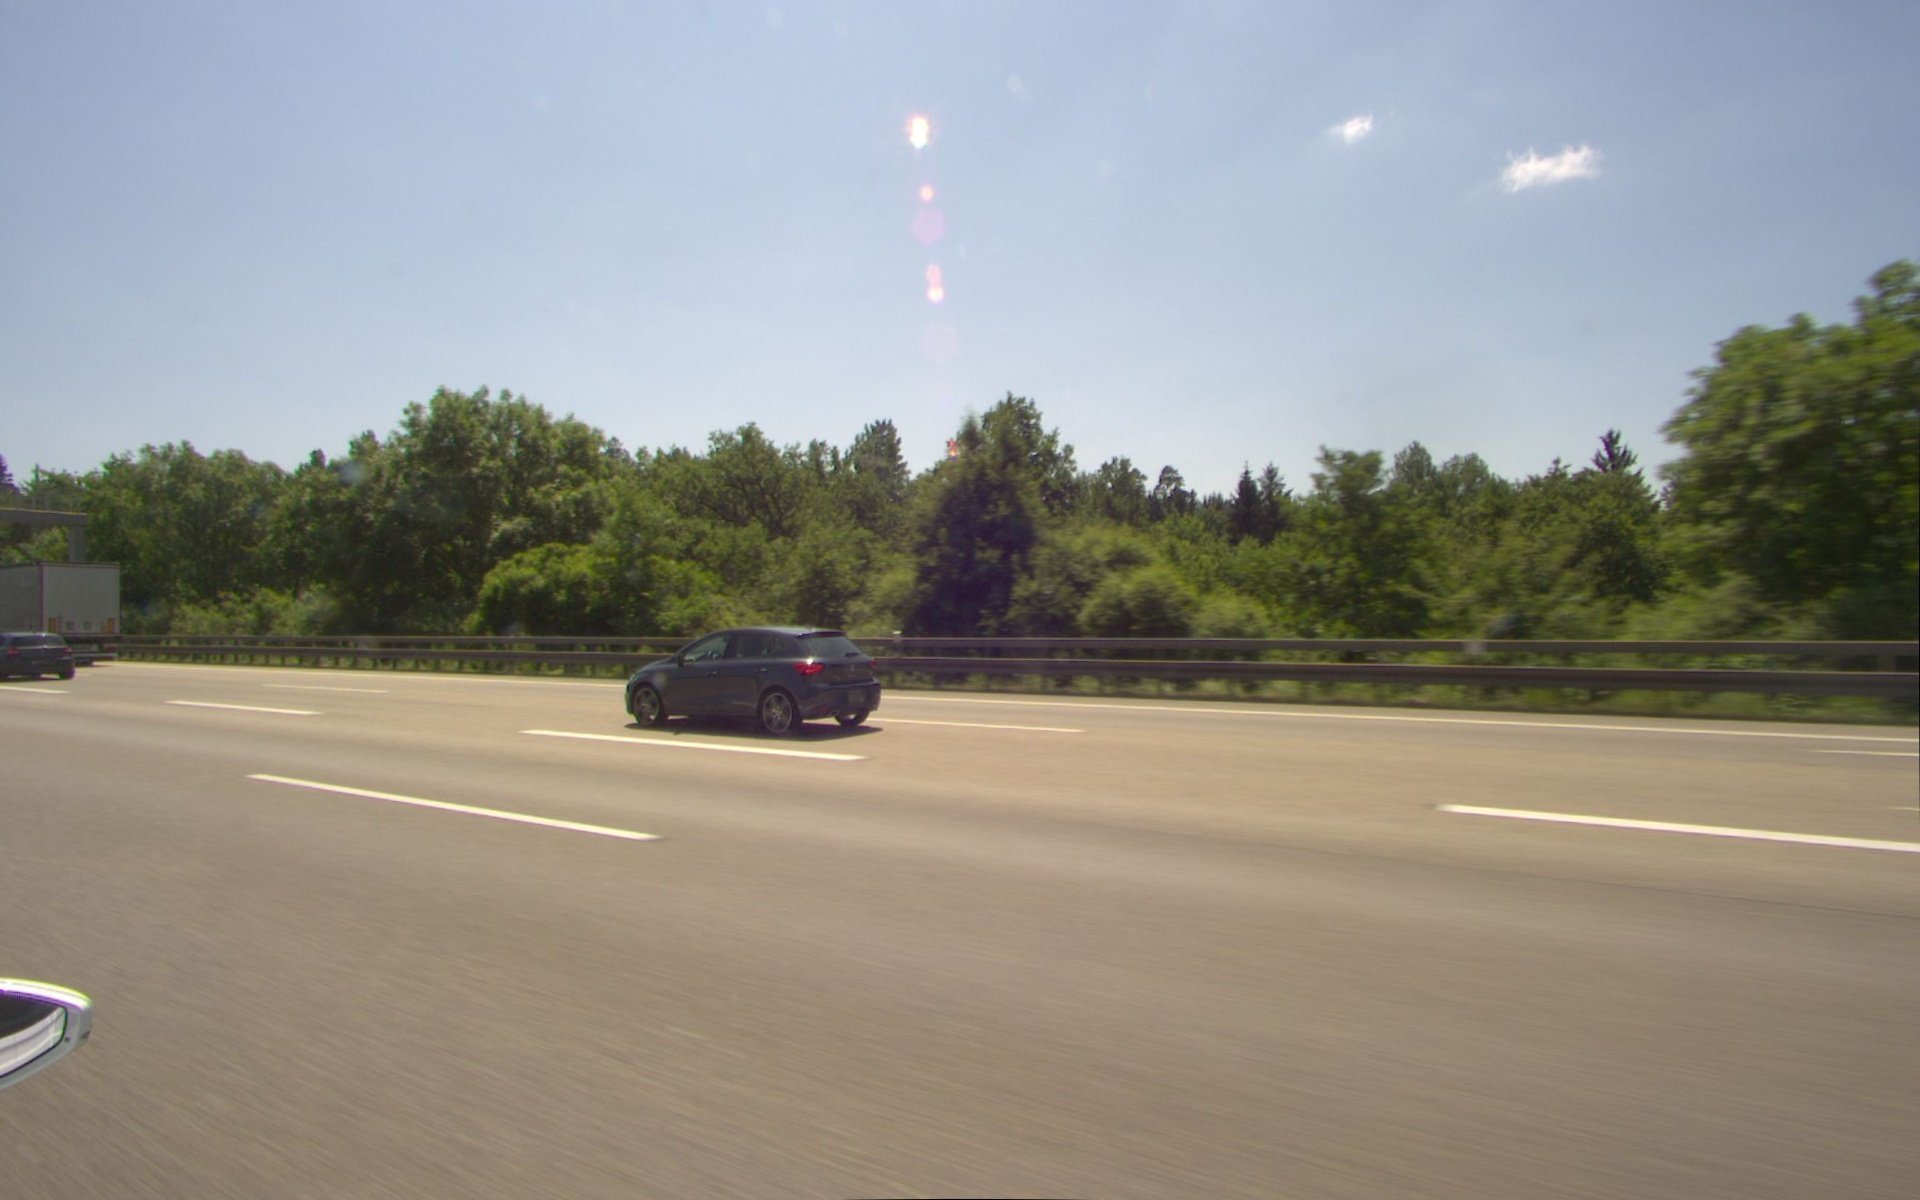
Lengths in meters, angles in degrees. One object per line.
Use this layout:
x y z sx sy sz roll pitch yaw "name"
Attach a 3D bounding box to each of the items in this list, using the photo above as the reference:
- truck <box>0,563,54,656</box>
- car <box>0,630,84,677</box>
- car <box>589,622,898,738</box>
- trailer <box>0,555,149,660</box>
-45.280 0.457 46.537 5.902 4.160 3.248 0 -1 32 "truck"
-28.046 1.551 29.944 4.229 1.290 1.667 -1 -1 33 "car"
-3.229 1.062 14.555 4.568 1.457 1.640 -1 -1 32 "car"
-39.723 0.433 43.042 13.691 3.981 3.282 -1 -1 32 "trailer"
